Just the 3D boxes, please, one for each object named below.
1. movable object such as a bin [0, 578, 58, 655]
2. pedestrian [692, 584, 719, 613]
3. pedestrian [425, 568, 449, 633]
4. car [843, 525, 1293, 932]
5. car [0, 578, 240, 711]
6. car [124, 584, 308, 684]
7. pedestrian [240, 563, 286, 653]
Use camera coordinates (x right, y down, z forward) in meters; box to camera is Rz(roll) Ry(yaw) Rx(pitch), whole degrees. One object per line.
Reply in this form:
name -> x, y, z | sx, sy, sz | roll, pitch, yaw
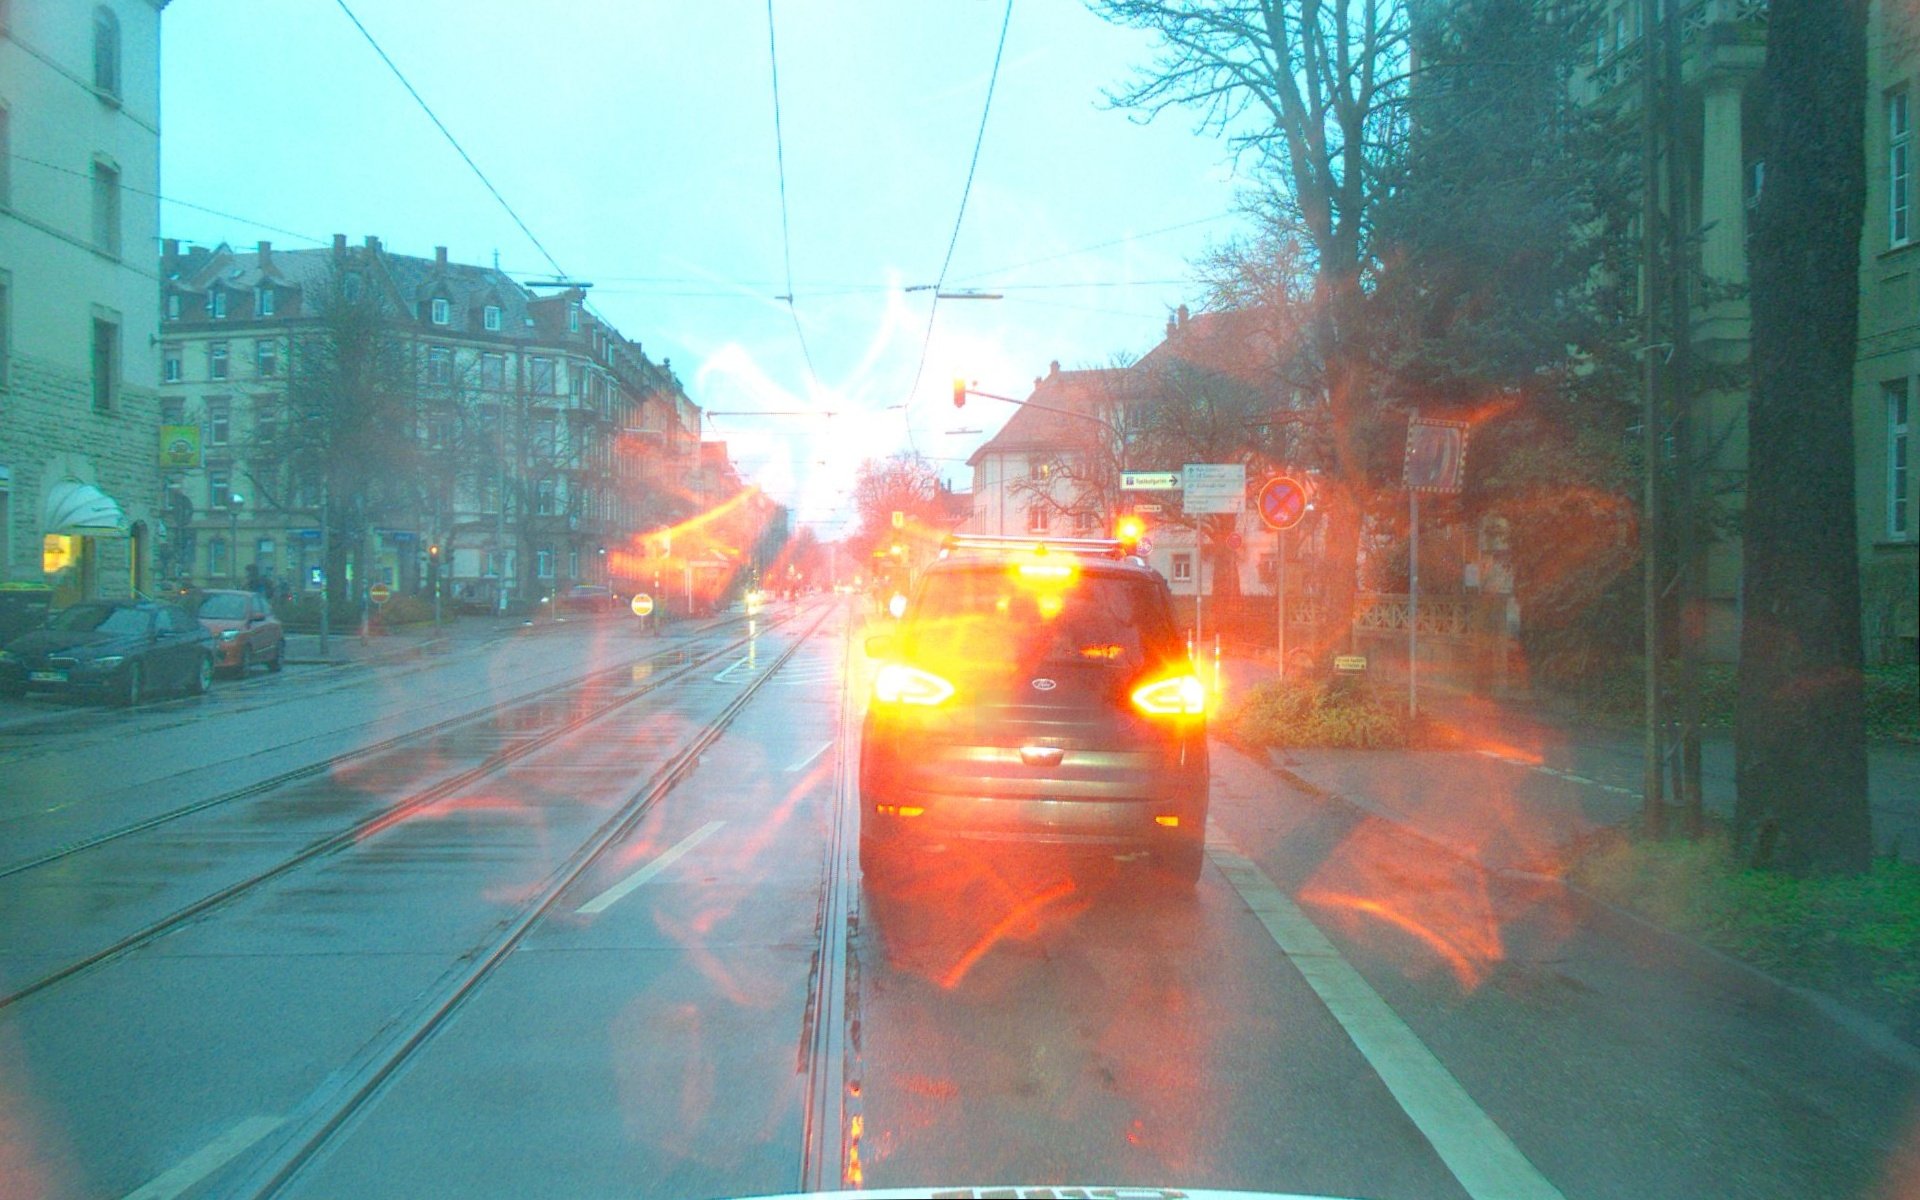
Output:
movable object such as a bin -> -17.657, 0.288, 30.603 | 1.268, 1.391, 1.251 | 0, 0, -4
pedestrian -> -10.895, -0.063, 70.740 | 1.026, 1.221, 0.884 | 1, 0, -2
pedestrian -> -16.692, 0.014, 52.799 | 0.695, 2.049, 0.656 | 0, 0, -23
car -> 0.462, 0.589, 10.088 | 2.061, 1.848, 4.659 | 2, 0, -1
car -> -12.695, 0.617, 24.910 | 1.948, 1.674, 4.625 | 5, -1, -6
car -> -13.741, 0.587, 30.810 | 2.000, 1.578, 4.024 | 4, 1, -8
pedestrian -> -16.061, 0.185, 38.098 | 0.742, 2.049, 0.646 | 0, -1, 33
